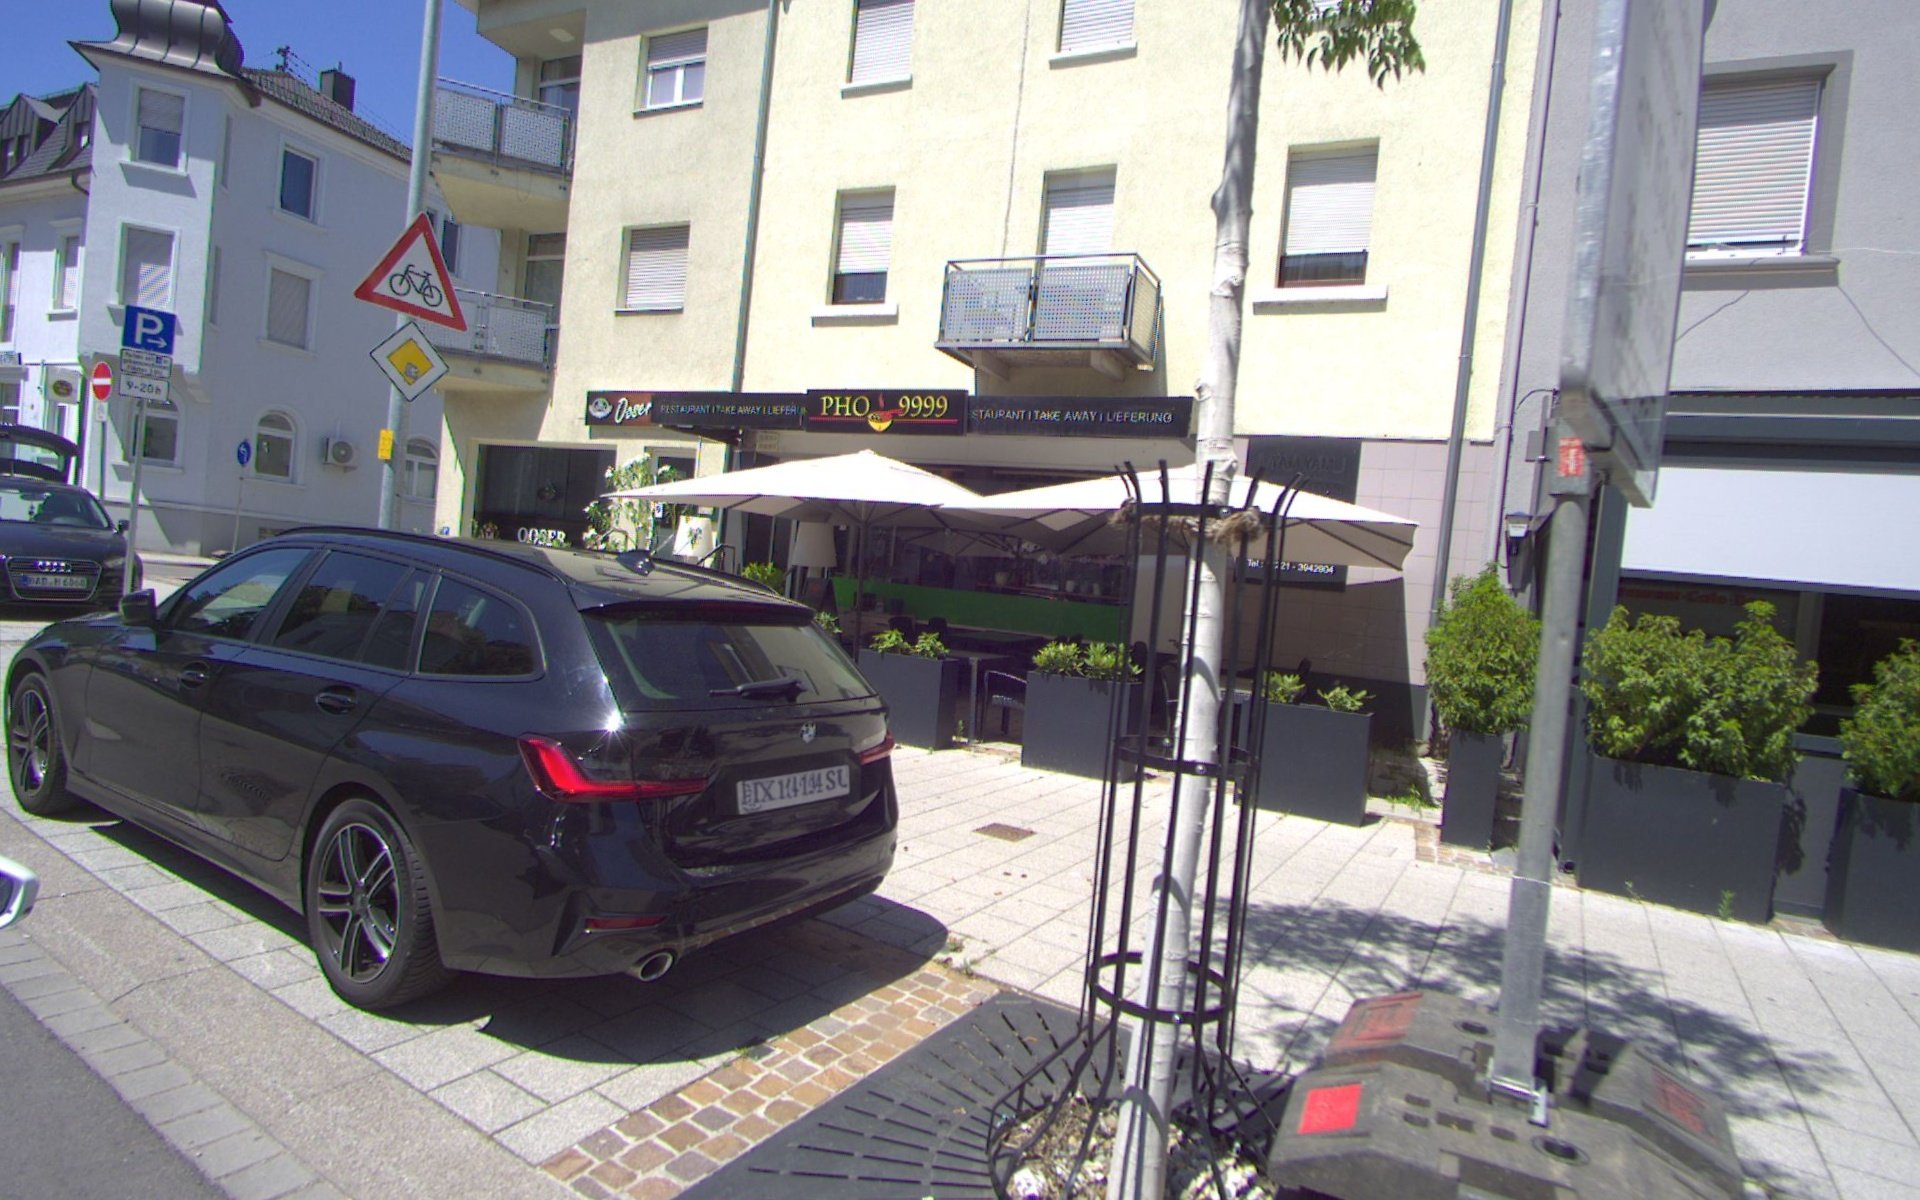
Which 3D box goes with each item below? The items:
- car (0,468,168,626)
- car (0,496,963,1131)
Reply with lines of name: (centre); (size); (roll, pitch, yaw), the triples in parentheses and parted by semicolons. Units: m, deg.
car: (-10.854, -0.720, 11.726); (3.807, 1.511, 1.867); (9, 3, 41)
car: (-2.407, 0.419, 4.399); (4.532, 1.424, 1.724); (6, 3, 32)
